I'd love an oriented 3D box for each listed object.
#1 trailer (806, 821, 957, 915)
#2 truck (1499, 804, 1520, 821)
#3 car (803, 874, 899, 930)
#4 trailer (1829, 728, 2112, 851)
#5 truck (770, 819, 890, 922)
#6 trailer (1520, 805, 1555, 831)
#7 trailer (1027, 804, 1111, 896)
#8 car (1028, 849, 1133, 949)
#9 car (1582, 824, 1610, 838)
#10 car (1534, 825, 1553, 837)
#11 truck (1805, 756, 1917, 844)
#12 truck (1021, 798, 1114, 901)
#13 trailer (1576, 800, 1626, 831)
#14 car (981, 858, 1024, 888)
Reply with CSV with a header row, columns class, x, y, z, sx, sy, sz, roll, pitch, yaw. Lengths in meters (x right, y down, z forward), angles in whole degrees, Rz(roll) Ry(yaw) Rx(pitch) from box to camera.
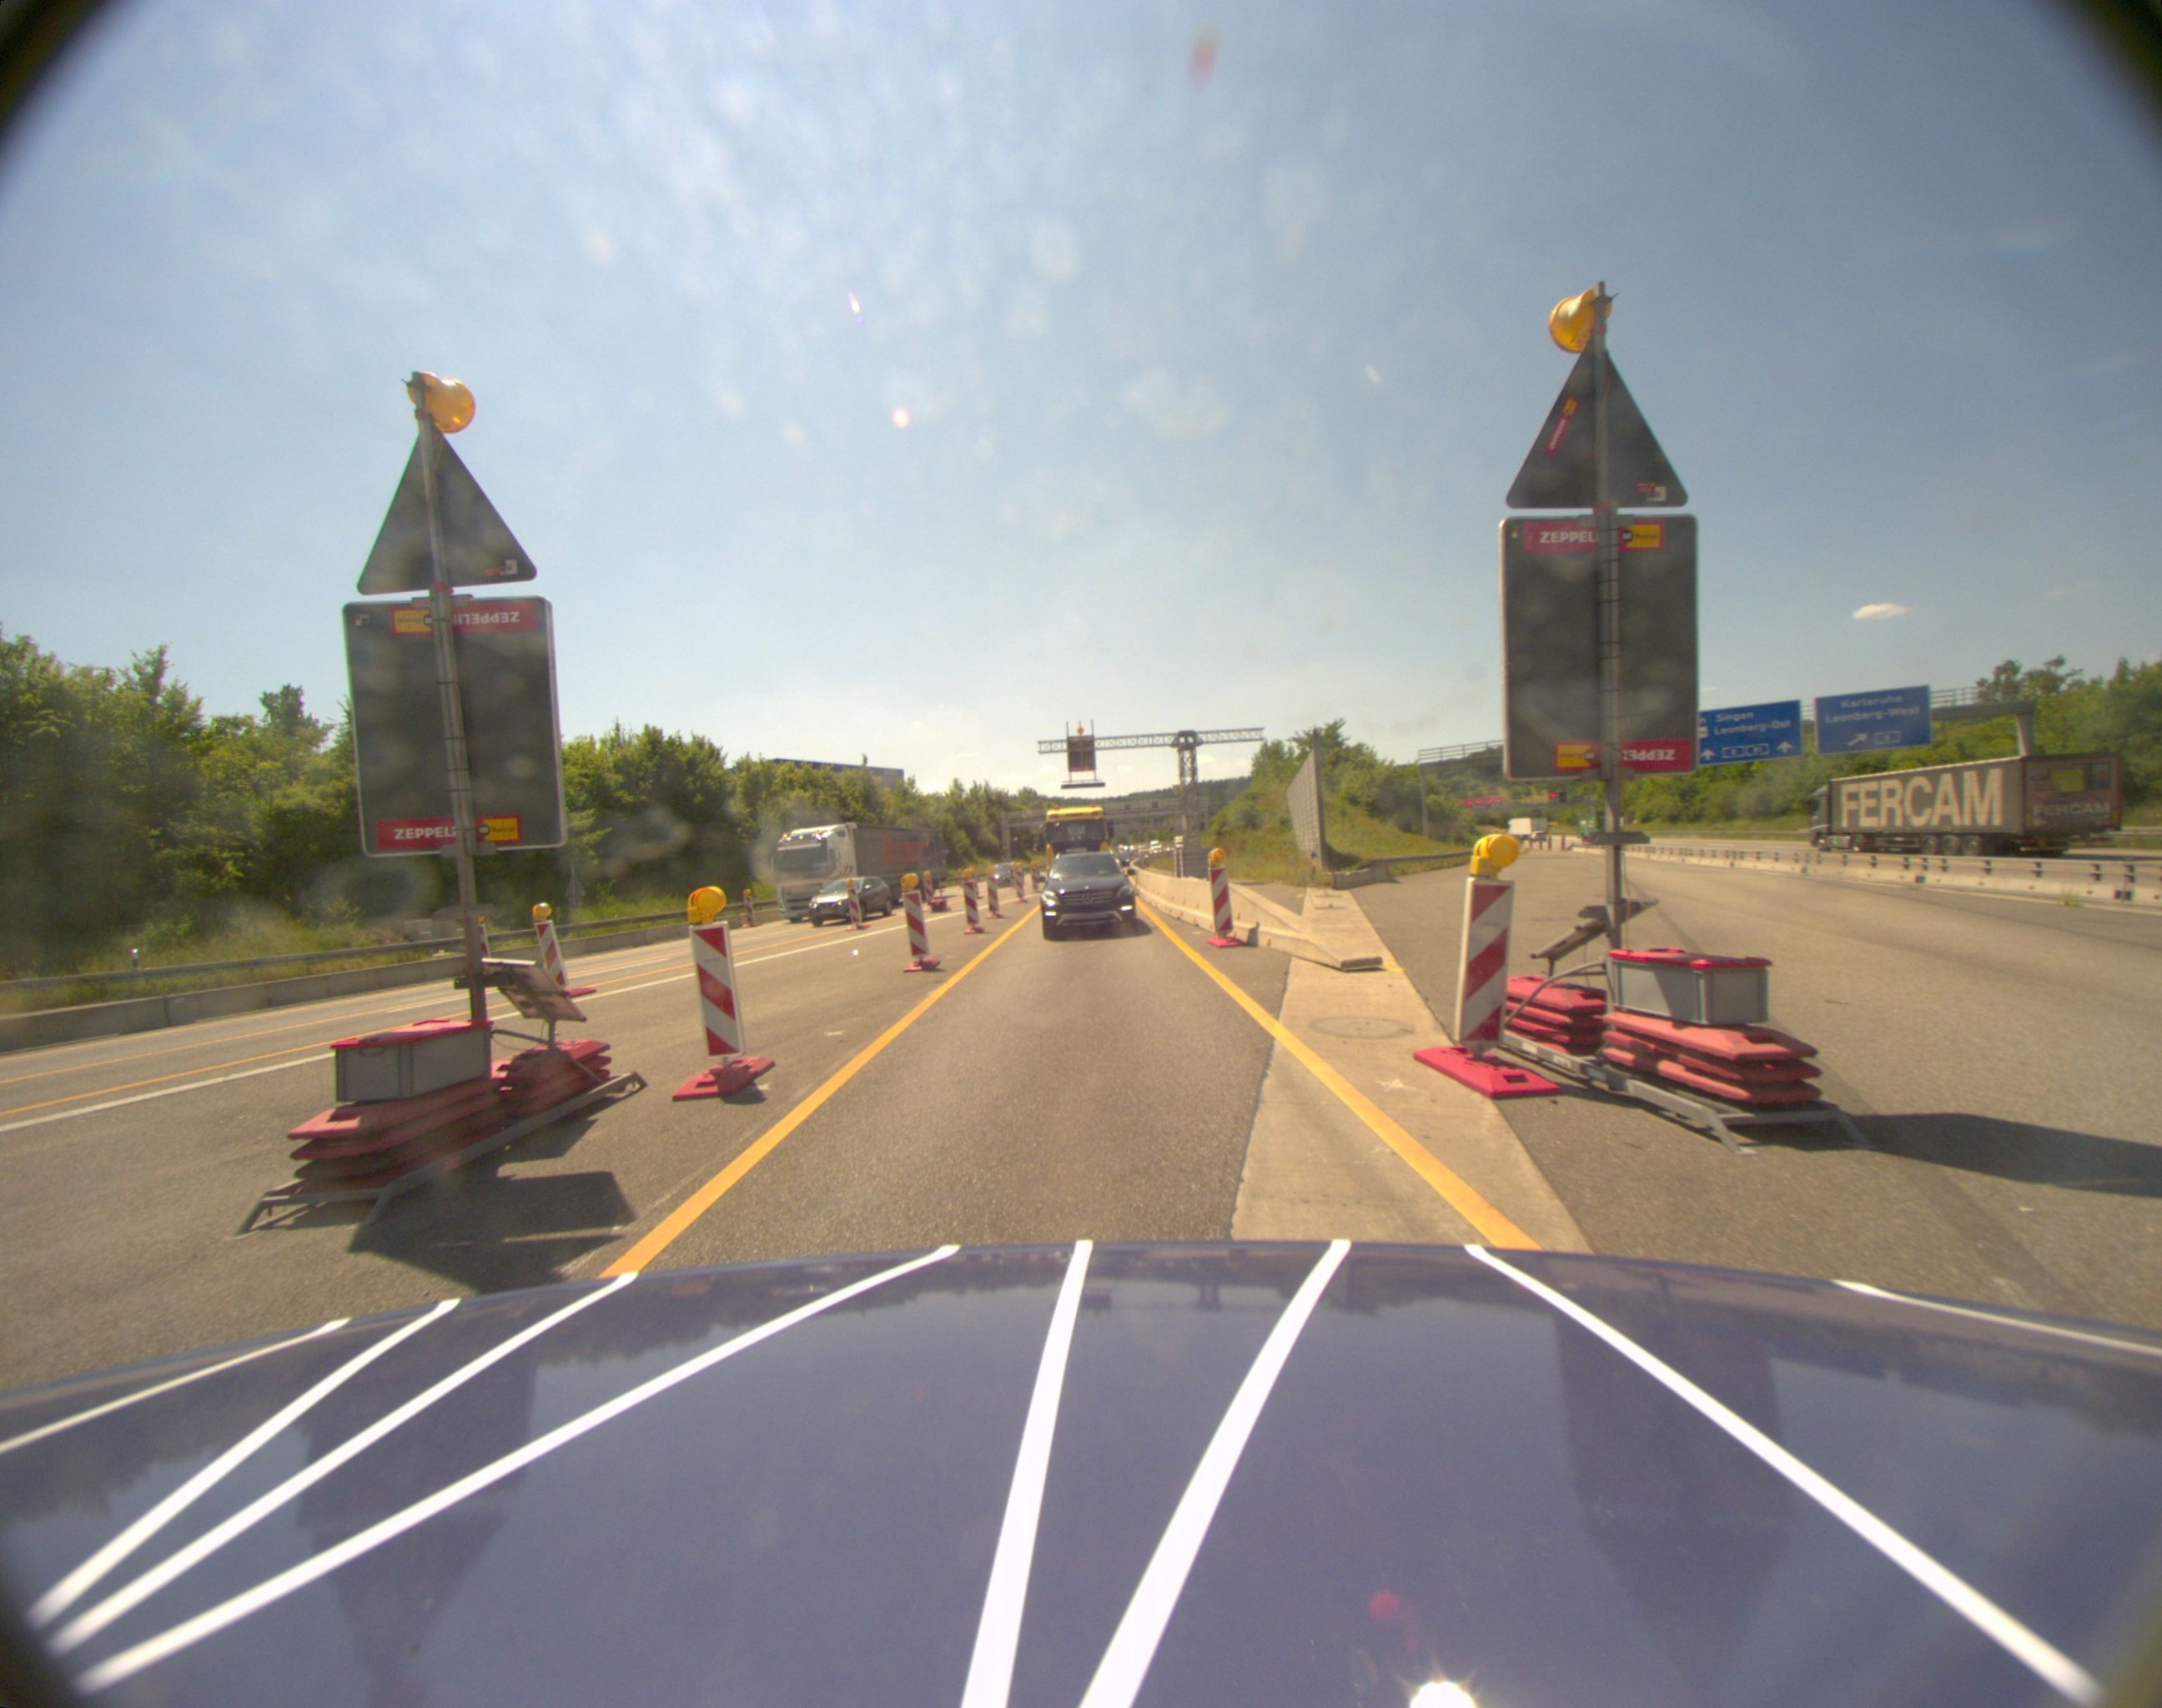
class,x,y,z,sx,sy,sz,roll,pitch,yaw
trailer,-10.042,0.543,40.719,2.546,3.929,13.874,-6,0,7
truck,123.861,-11.953,219.692,3.550,4.246,13.926,-5,1,24
car,-8.314,1.690,27.851,1.709,1.544,4.032,-6,1,7
trailer,38.670,-2.559,34.119,2.438,4.272,13.828,-3,1,24
truck,-10.874,0.644,33.510,2.532,3.927,5.601,-6,0,6
trailer,82.314,-6.527,137.317,3.550,4.246,13.926,-5,1,24
trailer,-0.607,-0.091,41.258,3.237,3.645,17.421,-6,0,-1
car,0.117,0.842,16.526,1.819,1.685,4.493,-6,1,3
car,58.459,-2.623,86.248,1.718,1.482,3.692,-3,1,20
car,71.421,-3.584,117.440,1.718,1.614,4.175,-4,1,21
truck,41.571,-2.801,40.674,2.434,4.245,4.845,-3,1,24
truck,-0.548,-0.145,32.854,3.230,3.639,7.083,-6,0,-1
trailer,79.911,-5.879,117.059,3.550,4.246,13.926,-5,1,24
car,-5.490,1.313,53.617,1.818,1.685,4.495,-6,1,8
